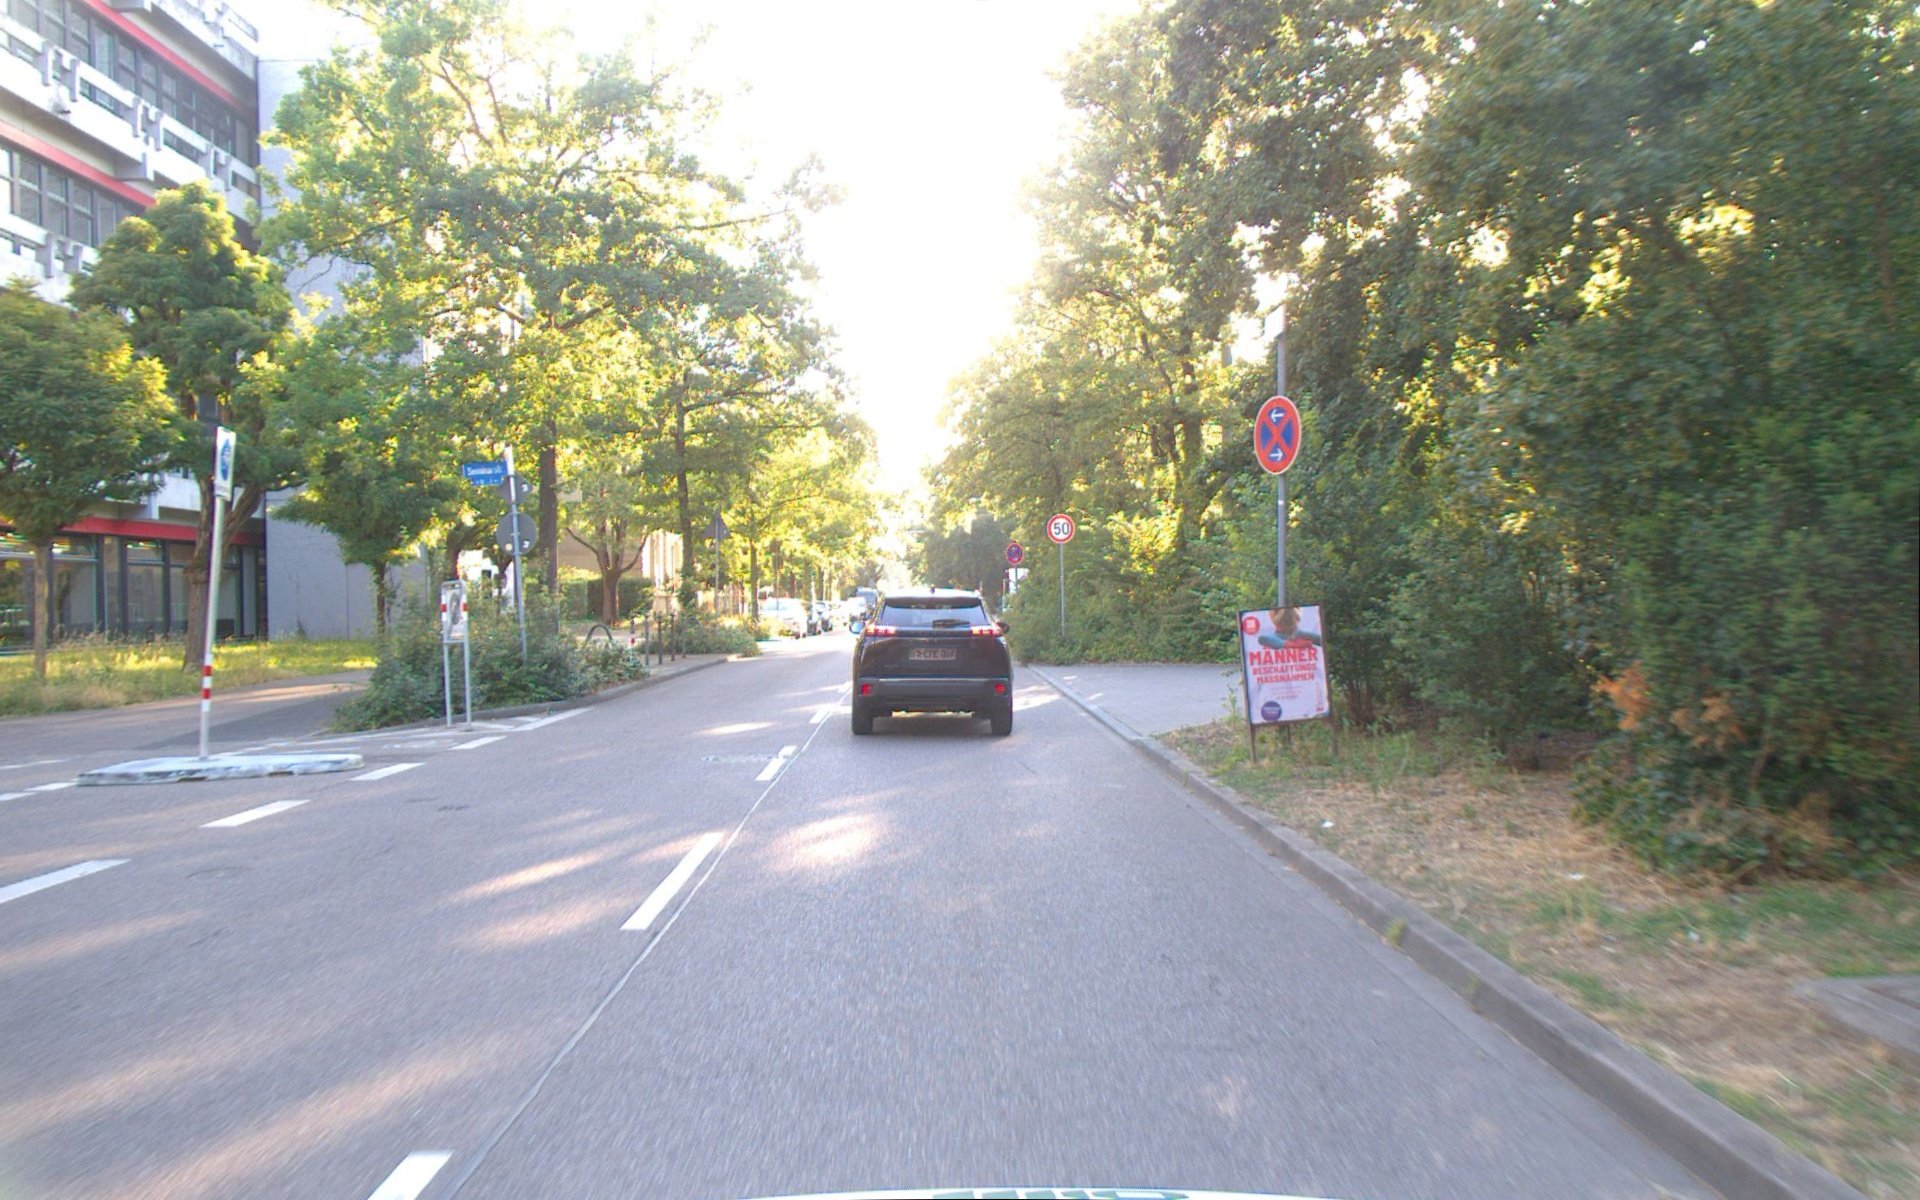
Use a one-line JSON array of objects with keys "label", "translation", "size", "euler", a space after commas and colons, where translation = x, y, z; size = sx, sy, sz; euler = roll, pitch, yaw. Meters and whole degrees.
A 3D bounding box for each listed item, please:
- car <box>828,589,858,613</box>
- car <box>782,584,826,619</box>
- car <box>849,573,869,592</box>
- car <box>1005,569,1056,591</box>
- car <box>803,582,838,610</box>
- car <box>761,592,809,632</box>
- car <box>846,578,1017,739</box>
[{"label": "car", "translation": [-7.451, 0.041, 105.030], "size": [1.775, 1.377, 3.975], "euler": [-2, 1, -5]}, {"label": "car", "translation": [-6.704, 0.031, 71.199], "size": [1.775, 1.377, 3.996], "euler": [-2, 1, -5]}, {"label": "car", "translation": [-10.340, -1.783, 169.946], "size": [1.868, 1.900, 3.948], "euler": [-2, 1, -1]}, {"label": "car", "translation": [5.731, -1.631, 134.863], "size": [3.909, 1.610, 1.814], "euler": [-2, 1, -5]}, {"label": "car", "translation": [-7.437, -0.217, 88.230], "size": [1.775, 1.377, 3.996], "euler": [-2, 1, -5]}, {"label": "car", "translation": [-6.866, 0.445, 64.954], "size": [1.775, 1.377, 3.995], "euler": [-2, 1, -6]}, {"label": "car", "translation": [-0.325, 0.583, 18.771], "size": [1.732, 1.595, 3.380], "euler": [-1, 1, -1]}]
